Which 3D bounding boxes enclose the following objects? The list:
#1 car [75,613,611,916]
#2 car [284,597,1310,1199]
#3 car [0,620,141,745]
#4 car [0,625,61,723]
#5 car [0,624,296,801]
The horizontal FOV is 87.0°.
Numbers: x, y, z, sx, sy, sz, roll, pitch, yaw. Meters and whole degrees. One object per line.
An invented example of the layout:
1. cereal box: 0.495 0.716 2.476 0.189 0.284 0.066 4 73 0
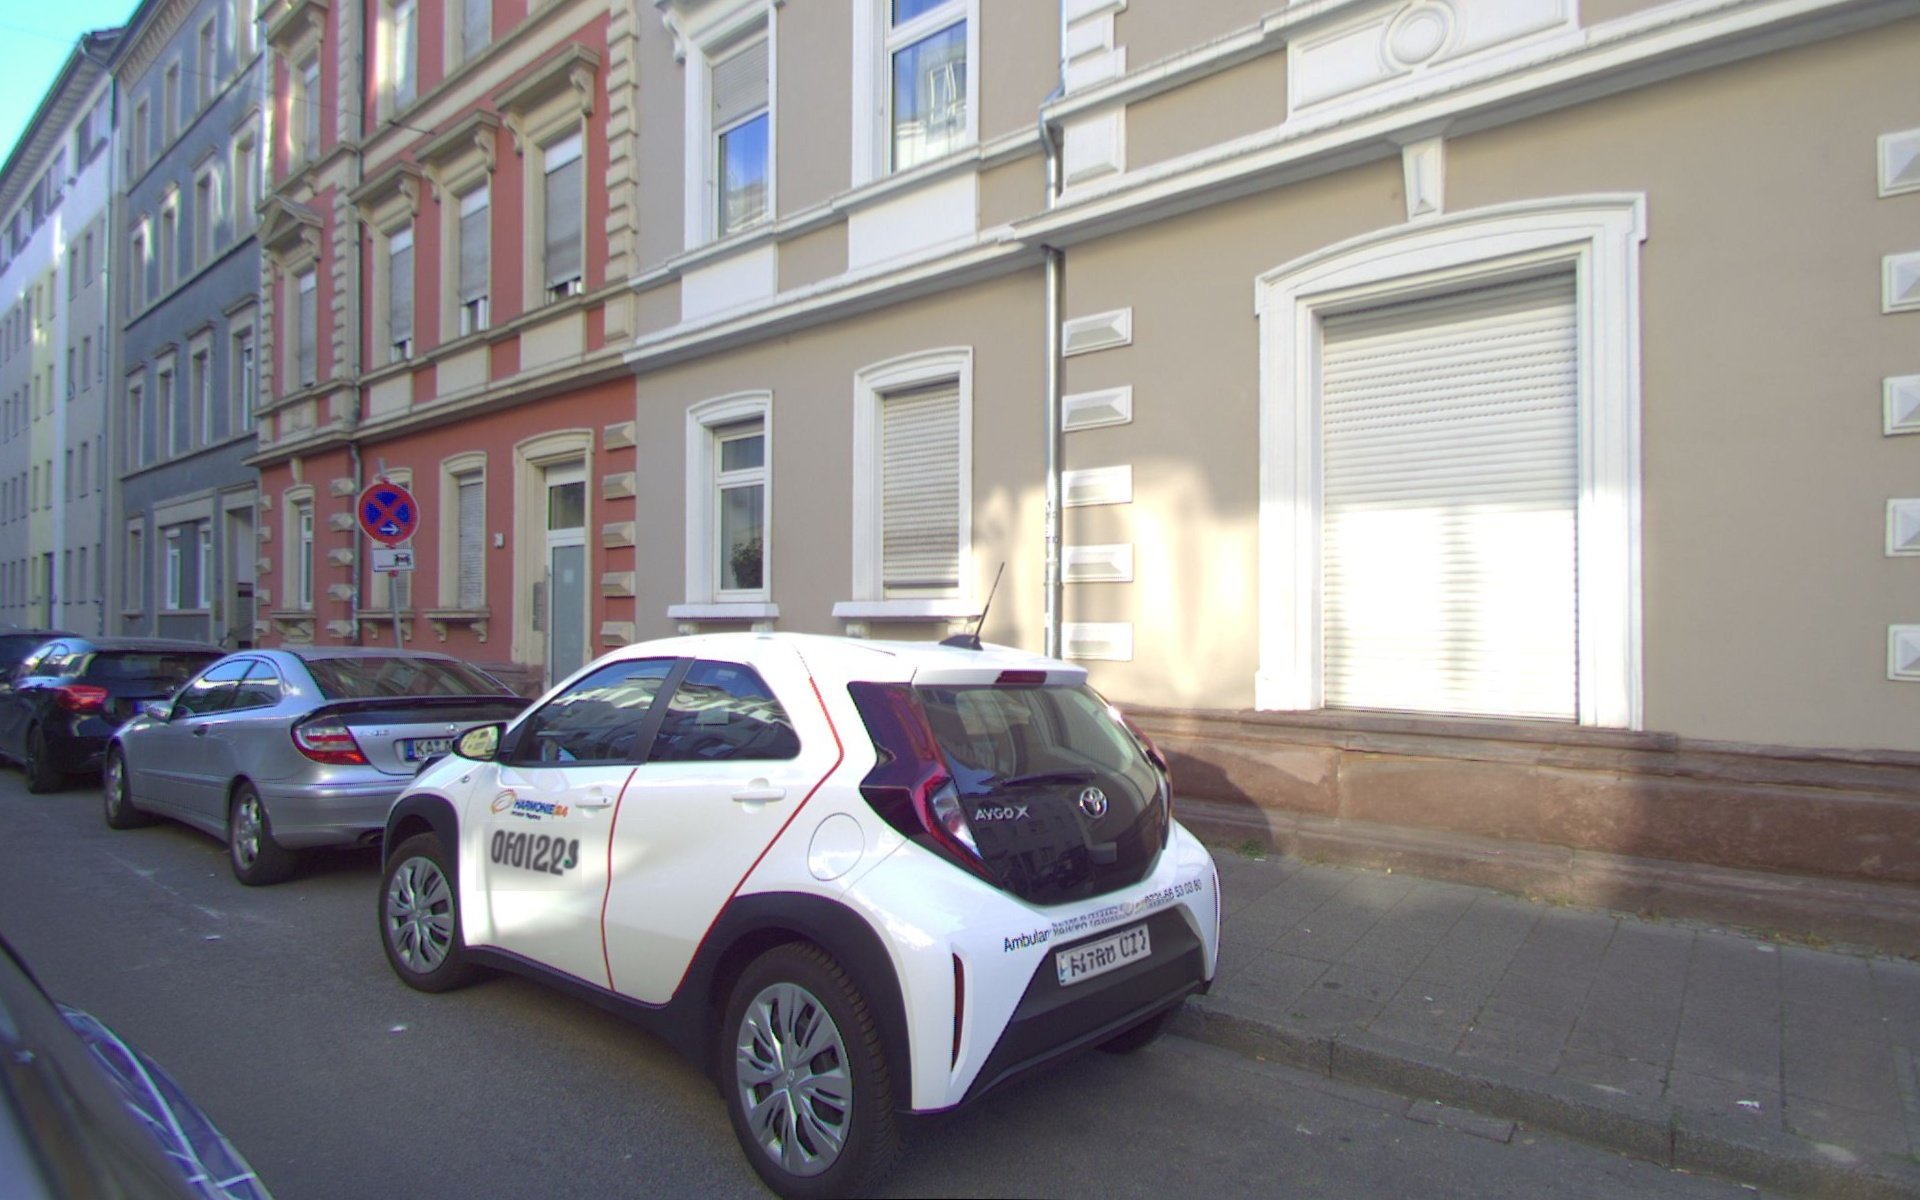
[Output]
1. car: -4.627 0.955 7.366 4.261 1.572 1.902 -2 -4 38
2. car: -0.991 0.858 4.235 4.263 1.519 1.901 -2 -4 40
3. car: -13.523 1.119 14.435 4.234 1.572 1.883 -2 -4 38
4. car: -17.296 1.224 17.423 4.261 1.572 1.902 -2 -4 38
5. car: -8.912 1.054 10.643 4.261 1.495 1.902 -2 -4 38
